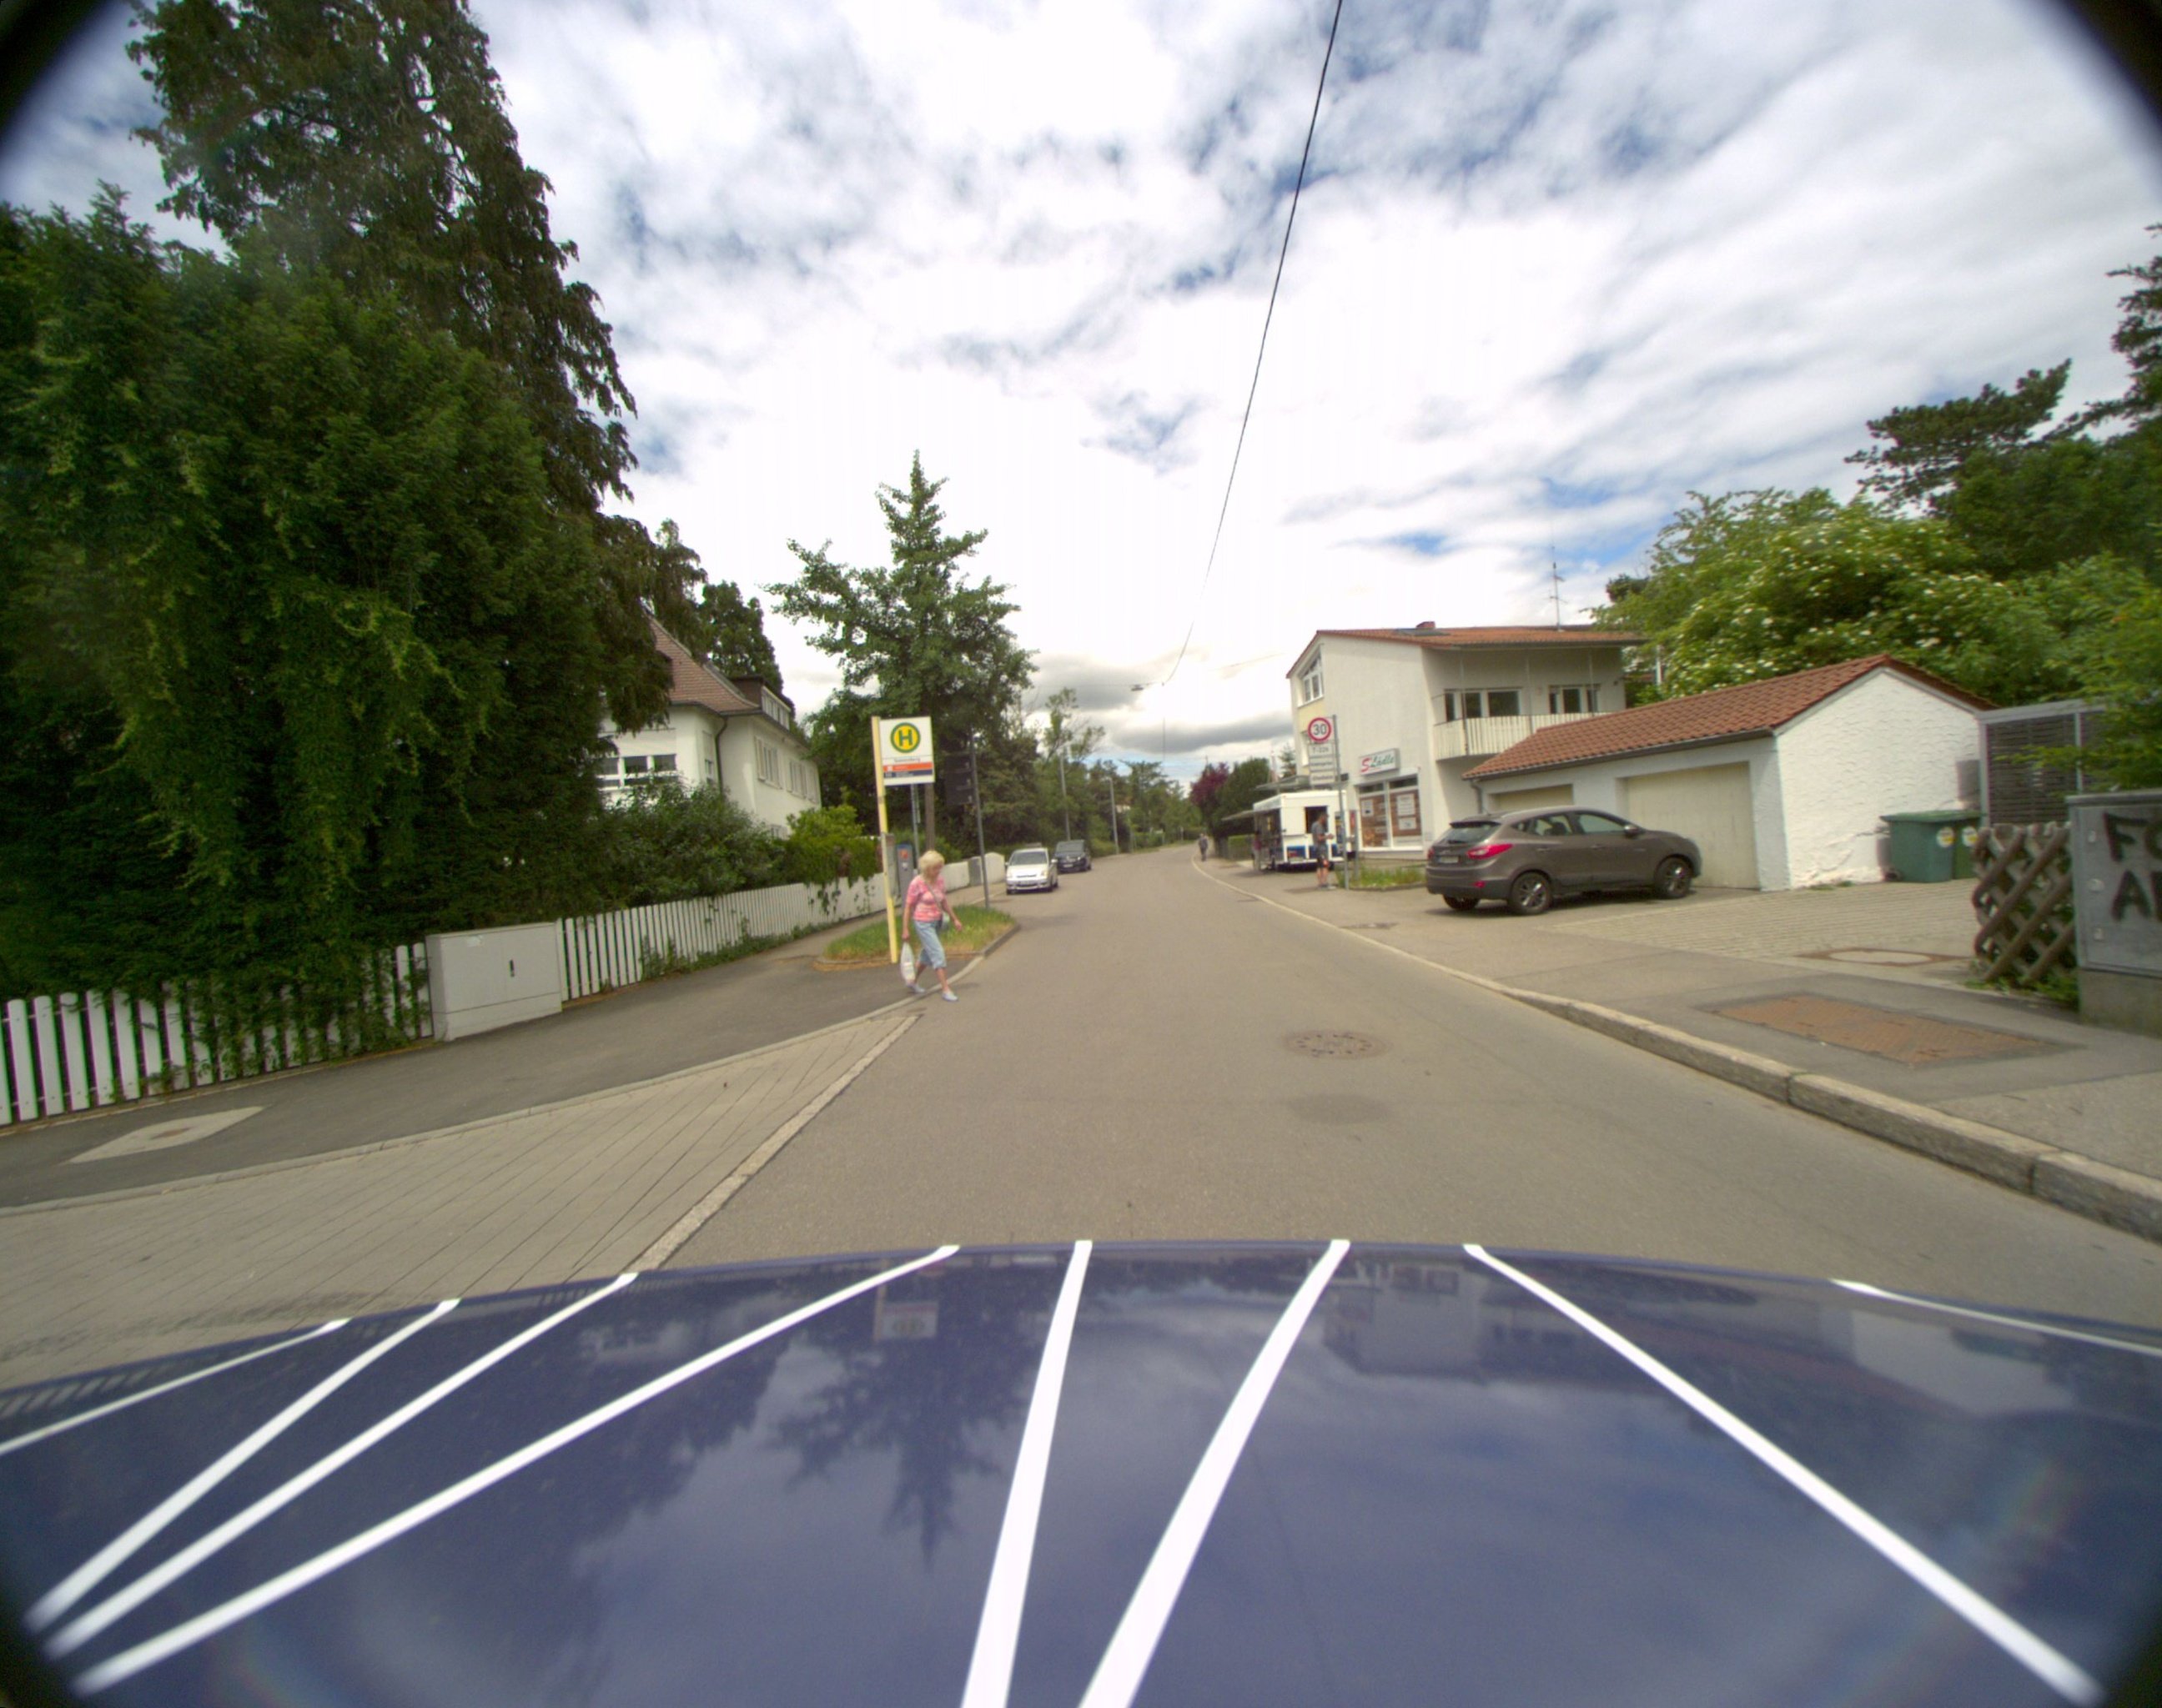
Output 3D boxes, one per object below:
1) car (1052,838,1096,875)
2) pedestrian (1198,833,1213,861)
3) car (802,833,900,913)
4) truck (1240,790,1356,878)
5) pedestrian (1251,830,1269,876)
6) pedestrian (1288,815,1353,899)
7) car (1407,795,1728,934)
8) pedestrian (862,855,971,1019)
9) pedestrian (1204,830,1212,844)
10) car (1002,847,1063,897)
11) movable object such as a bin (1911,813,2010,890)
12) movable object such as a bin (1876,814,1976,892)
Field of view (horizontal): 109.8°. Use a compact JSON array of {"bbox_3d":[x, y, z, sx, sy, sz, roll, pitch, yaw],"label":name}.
[{"bbox_3d":[-0.338,0.108,44.560,1.913,1.838,5.158,-5,1,6],"label":"car"},{"bbox_3d":[7.895,-0.452,48.107,0.724,1.678,1.108,-6,5,6],"label":"pedestrian"},{"bbox_3d":[-8.990,0.670,30.295,2.505,2.666,5.183,-7,1,-6],"label":"car"},{"bbox_3d":[8.160,-0.755,29.451,2.479,2.824,6.706,-5,1,1],"label":"truck"},{"bbox_3d":[6.835,-0.050,29.008,0.402,1.685,0.597,-6,2,1],"label":"pedestrian"},{"bbox_3d":[5.907,0.066,18.776,1.216,1.935,0.735,-6,2,6],"label":"pedestrian"},{"bbox_3d":[8.064,0.128,12.767,4.325,1.686,1.796,-7,1,-9],"label":"car"},{"bbox_3d":[-1.747,0.856,8.237,0.856,1.636,0.884,-3,2,4],"label":"pedestrian"},{"bbox_3d":[16.517,-2.230,98.685,0.821,1.735,0.604,-6,2,12],"label":"pedestrian"},{"bbox_3d":[-1.723,0.621,28.160,1.763,1.573,4.018,-3,1,2],"label":"car"},{"bbox_3d":[13.467,-0.033,11.644,0.689,1.077,0.692,-7,2,-11],"label":"movable object such as a bin"},{"bbox_3d":[12.775,-0.019,11.502,0.689,1.077,0.703,-7,2,-11],"label":"movable object such as a bin"}]
